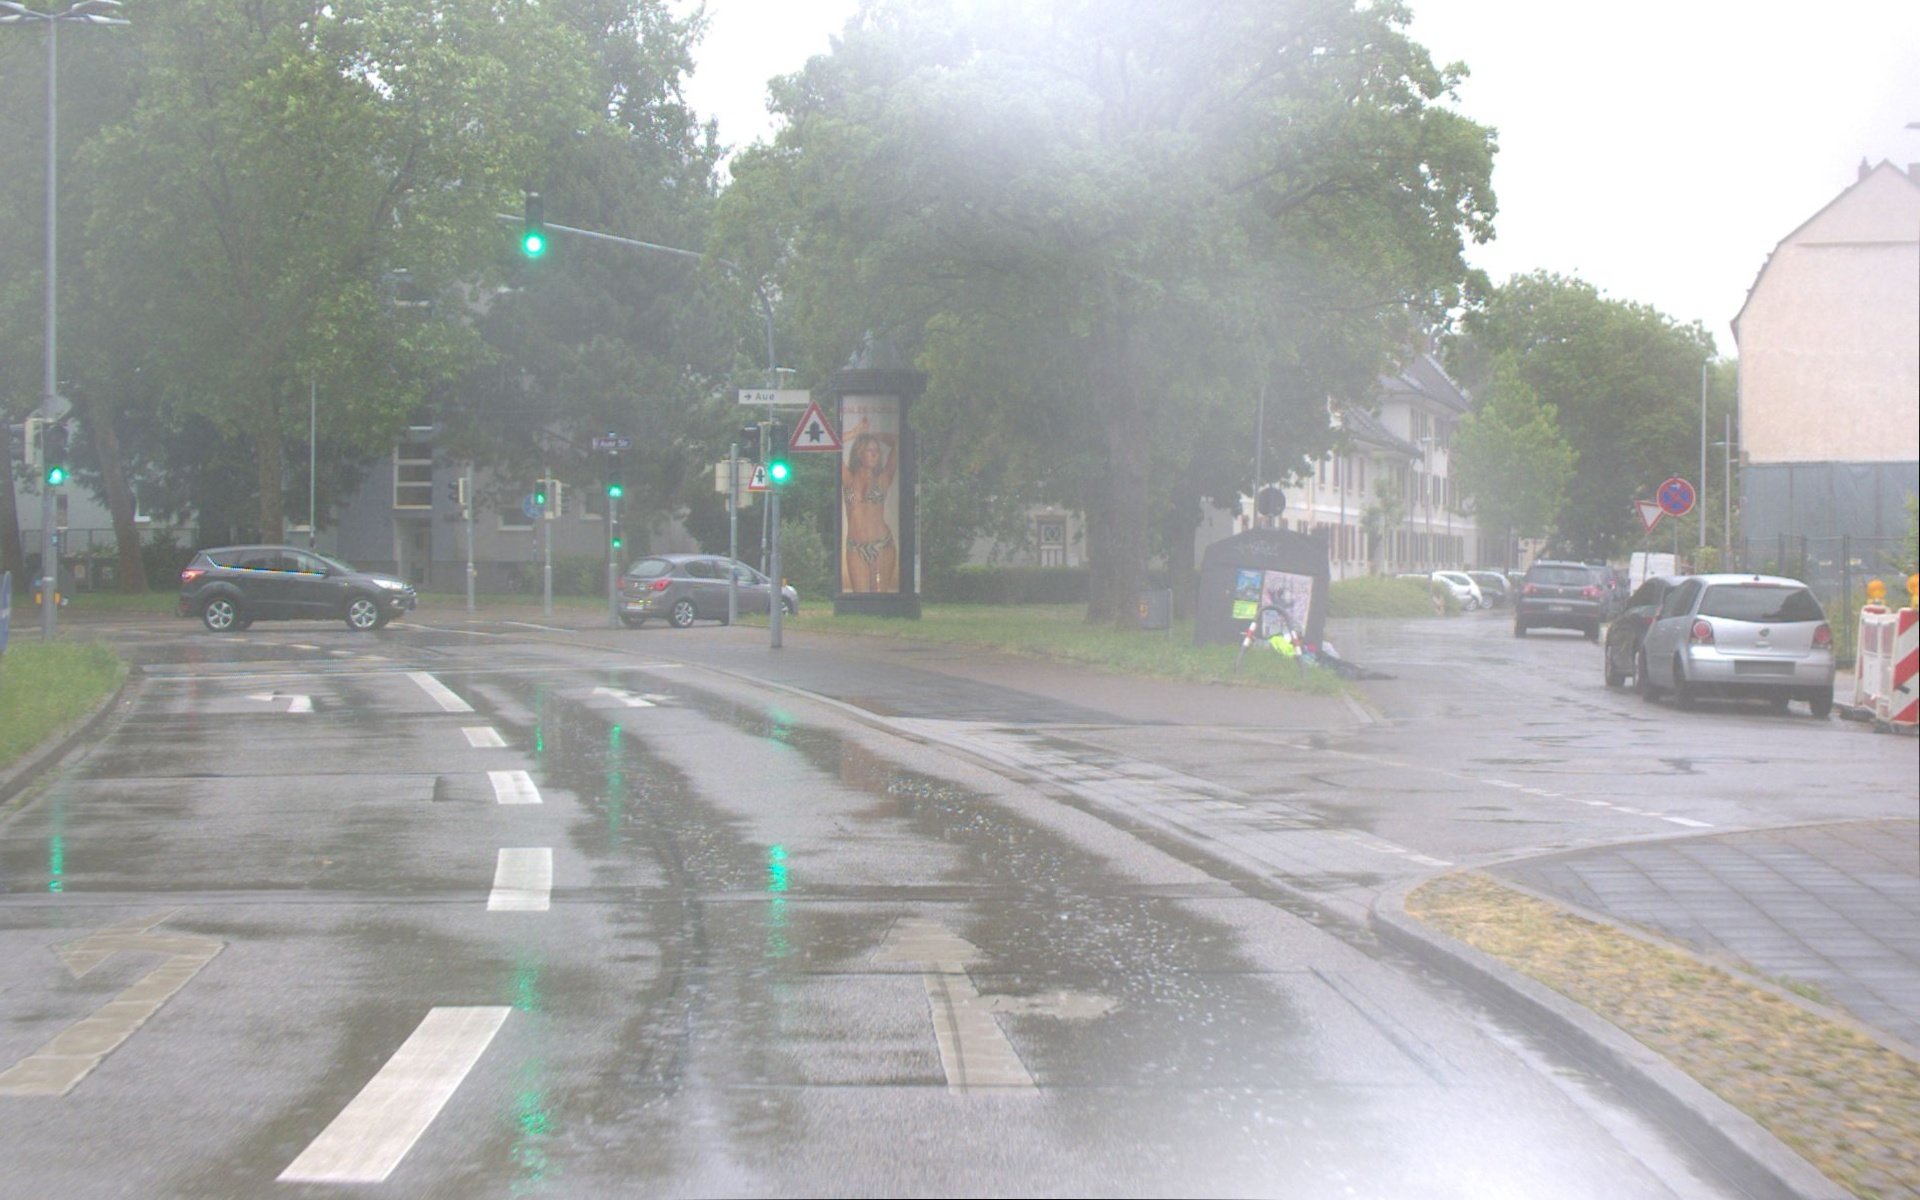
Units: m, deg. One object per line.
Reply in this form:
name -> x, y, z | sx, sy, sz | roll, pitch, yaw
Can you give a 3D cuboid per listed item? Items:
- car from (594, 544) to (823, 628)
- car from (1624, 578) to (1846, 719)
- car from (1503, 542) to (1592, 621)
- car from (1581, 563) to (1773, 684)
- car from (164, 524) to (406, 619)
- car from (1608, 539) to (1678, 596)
car -> -5.018, -0.268, 68.650 | 4.074, 1.597, 2.000 | 1, 0, -29
car -> 8.391, 0.495, 37.513 | 1.634, 1.428, 4.176 | 1, 0, 3
car -> 12.873, -0.395, 75.472 | 1.854, 1.649, 4.303 | 1, 0, 9
car -> 8.936, 0.273, 43.141 | 1.698, 1.428, 4.156 | 1, 0, 3
car -> -13.002, -0.549, 66.367 | 4.290, 1.738, 2.000 | 1, 0, -2
car -> 27.244, -1.275, 137.041 | 2.351, 2.201, 4.609 | 1, 0, 16
